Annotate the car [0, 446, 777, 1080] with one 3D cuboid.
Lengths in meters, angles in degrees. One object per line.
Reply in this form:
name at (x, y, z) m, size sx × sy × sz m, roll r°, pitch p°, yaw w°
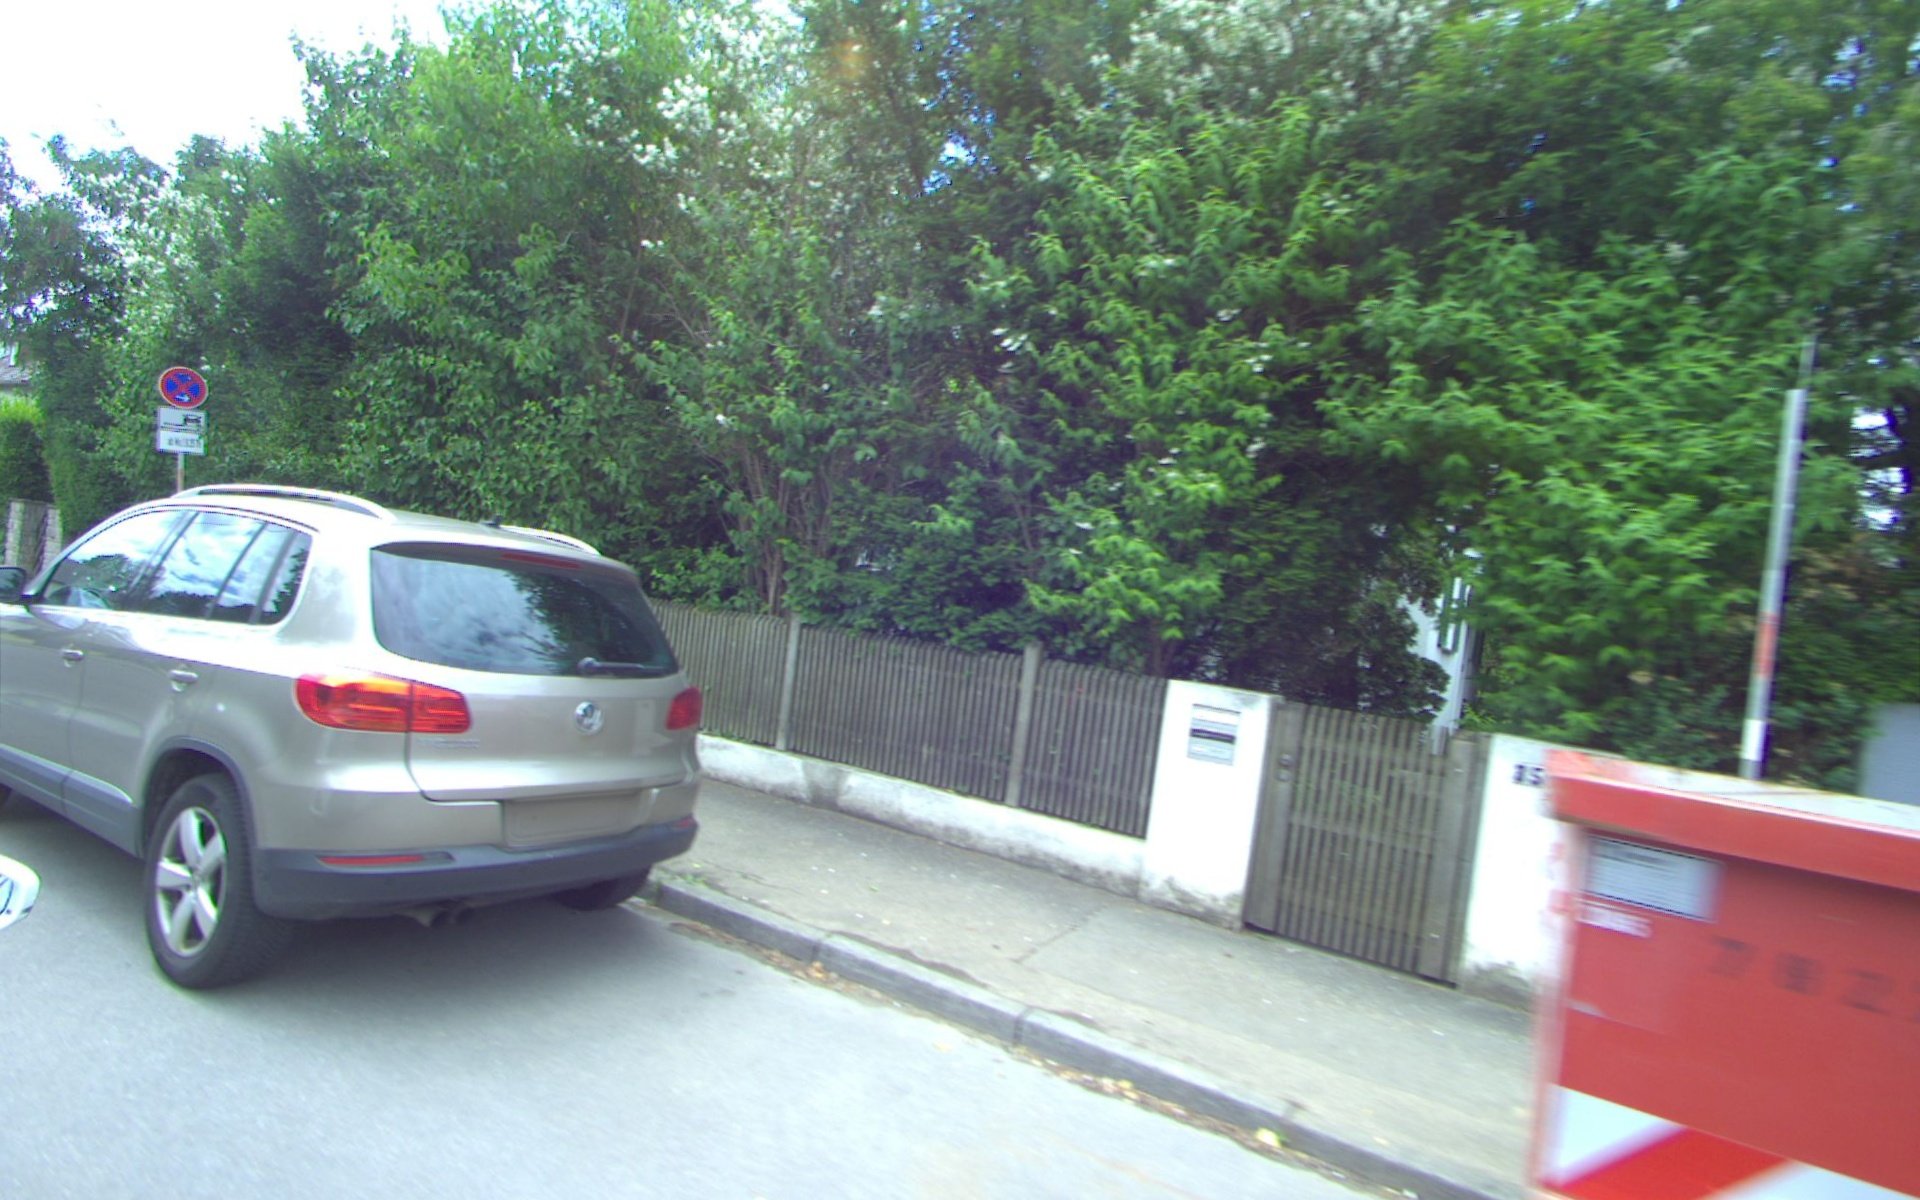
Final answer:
car at (-3.069, 0.343, 4.603) m, size 4.114 × 1.695 × 1.747 m, roll 7°, pitch 0°, yaw 31°
